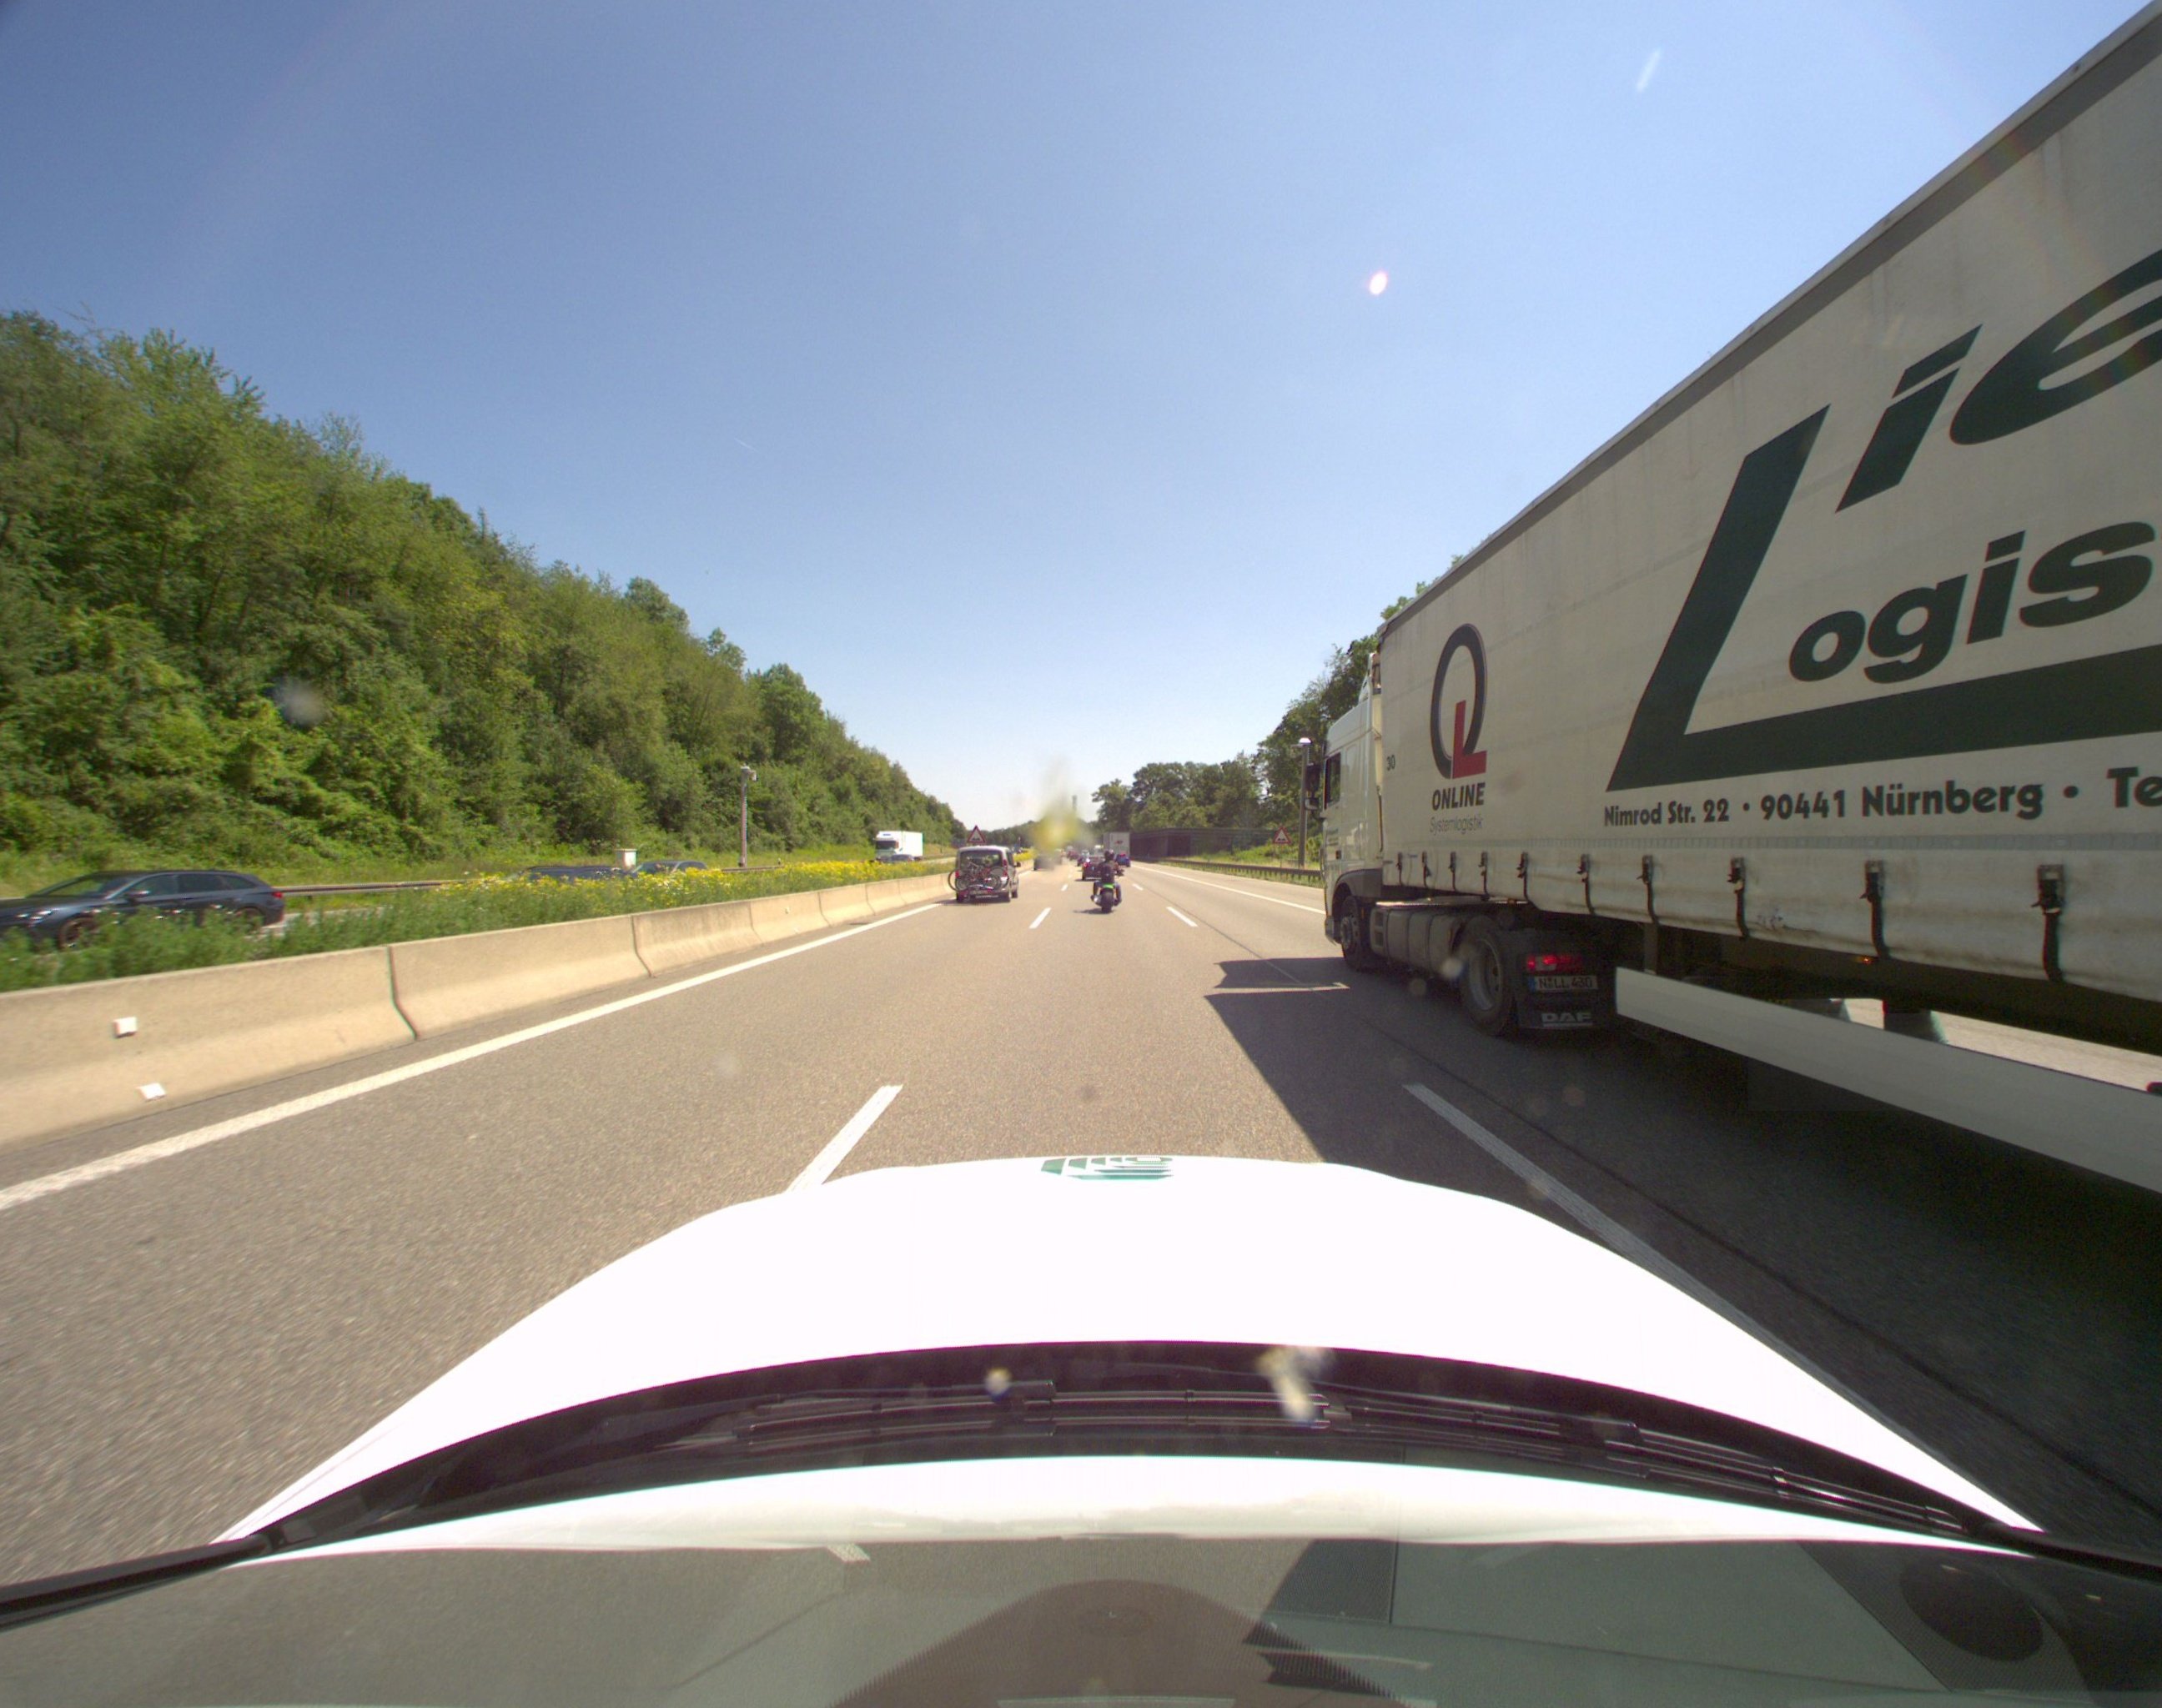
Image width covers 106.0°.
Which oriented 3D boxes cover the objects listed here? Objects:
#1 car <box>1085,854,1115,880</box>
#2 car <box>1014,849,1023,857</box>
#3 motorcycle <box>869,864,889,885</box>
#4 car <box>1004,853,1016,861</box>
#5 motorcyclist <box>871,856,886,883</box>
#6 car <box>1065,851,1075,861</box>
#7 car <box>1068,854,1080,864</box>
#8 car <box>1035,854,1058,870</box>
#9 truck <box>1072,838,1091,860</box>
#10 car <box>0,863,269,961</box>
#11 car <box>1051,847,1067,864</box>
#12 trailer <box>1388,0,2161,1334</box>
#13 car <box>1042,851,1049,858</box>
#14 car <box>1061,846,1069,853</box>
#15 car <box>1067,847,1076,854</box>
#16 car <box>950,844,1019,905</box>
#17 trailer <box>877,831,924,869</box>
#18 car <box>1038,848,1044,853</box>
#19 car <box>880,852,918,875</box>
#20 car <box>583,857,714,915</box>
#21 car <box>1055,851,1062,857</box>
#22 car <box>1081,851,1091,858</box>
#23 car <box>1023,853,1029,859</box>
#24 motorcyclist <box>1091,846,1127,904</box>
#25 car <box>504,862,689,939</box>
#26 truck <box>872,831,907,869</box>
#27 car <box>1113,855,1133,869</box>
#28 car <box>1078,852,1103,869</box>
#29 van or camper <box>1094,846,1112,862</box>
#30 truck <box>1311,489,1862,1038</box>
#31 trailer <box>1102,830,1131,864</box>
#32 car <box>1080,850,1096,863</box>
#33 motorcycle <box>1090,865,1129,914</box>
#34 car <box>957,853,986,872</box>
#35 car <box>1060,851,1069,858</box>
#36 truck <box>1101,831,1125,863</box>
[{"bbox_3d":[1.088,0.767,47.513,1.657,1.453,3.869,0,-1,1],"label":"car"},{"bbox_3d":[-16.540,-0.176,215.930,1.988,2.014,4.417,0,-1,-2],"label":"car"},{"bbox_3d":[-10.289,1.030,41.486,0.621,1.033,1.467,0,0,1],"label":"motorcycle"},{"bbox_3d":[-14.389,0.656,165.262,1.987,1.486,3.999,0,-1,0],"label":"car"},{"bbox_3d":[-10.294,0.794,41.471,0.621,1.334,0.577,0,0,1],"label":"motorcyclist"},{"bbox_3d":[-2.241,0.379,165.162,1.907,2.014,3.686,0,-1,-4],"label":"car"},{"bbox_3d":[-1.228,0.806,138.884,1.988,1.640,3.997,0,-1,-2],"label":"car"},{"bbox_3d":[-3.125,0.769,73.766,1.988,1.387,3.998,0,-1,-1],"label":"car"},{"bbox_3d":[0.049,-1.109,195.254,3.797,4.960,8.933,0,-1,-5],"label":"truck"},{"bbox_3d":[-18.160,0.972,15.185,1.987,1.508,4.000,-1,0,0],"label":"car"},{"bbox_3d":[-2.772,0.220,103.192,1.785,2.014,3.642,0,-1,1],"label":"car"},{"bbox_3d":[4.453,-0.739,2.226,2.775,4.204,13.252,0,1,2],"label":"trailer"},{"bbox_3d":[-8.477,0.155,194.121,1.828,1.496,3.739,0,-1,-3],"label":"car"},{"bbox_3d":[-4.675,-1.216,234.350,2.104,1.876,3.993,0,-1,-5],"label":"car"},{"bbox_3d":[-2.686,-0.965,228.822,2.104,1.876,3.993,0,-1,-5],"label":"car"},{"bbox_3d":[-3.129,0.653,27.242,1.894,1.873,4.409,0,-1,-2],"label":"car"},{"bbox_3d":[-21.292,-0.363,97.144,2.707,4.208,13.925,0,-1,-1],"label":"trailer"},{"bbox_3d":[-11.501,-1.070,235.209,1.828,1.496,3.739,0,-1,-3],"label":"car"},{"bbox_3d":[-13.933,0.715,62.566,1.942,1.642,3.980,-1,0,0],"label":"car"},{"bbox_3d":[-13.786,0.959,26.274,1.986,1.728,4.001,0,0,1],"label":"car"},{"bbox_3d":[-5.564,0.051,202.030,1.828,1.496,3.739,0,-1,-3],"label":"car"},{"bbox_3d":[1.145,0.122,183.240,1.988,1.574,3.998,0,-1,-1],"label":"car"},{"bbox_3d":[-17.494,0.593,260.598,1.831,1.849,3.774,0,-1,-3],"label":"car"},{"bbox_3d":[0.760,0.539,21.498,0.896,1.475,1.873,-1,-1,2],"label":"motorcyclist"},{"bbox_3d":[-10.741,0.954,18.439,1.755,1.510,4.000,-1,0,0],"label":"car"},{"bbox_3d":[-21.193,-0.406,90.263,2.682,4.090,5.200,0,-1,-1],"label":"truck"},{"bbox_3d":[4.459,0.835,87.452,1.647,1.483,4.475,0,-1,-4],"label":"car"},{"bbox_3d":[0.812,0.605,71.757,1.989,1.430,3.843,0,-1,-3],"label":"car"},{"bbox_3d":[3.778,0.049,141.344,2.678,2.813,6.798,0,-1,-2],"label":"van or camper"},{"bbox_3d":[4.700,-0.730,9.203,2.775,4.204,5.873,0,1,2],"label":"truck"},{"bbox_3d":[4.335,-0.854,101.836,2.877,4.038,13.791,0,0,0],"label":"trailer"},{"bbox_3d":[0.779,0.303,94.031,1.774,1.552,3.584,0,-1,0],"label":"car"},{"bbox_3d":[0.769,0.896,21.557,0.961,1.148,2.813,0,0,2],"label":"motorcycle"},{"bbox_3d":[-10.034,0.762,74.977,1.987,1.678,4.081,-1,0,1],"label":"car"},{"bbox_3d":[-3.756,0.132,183.903,1.828,1.496,3.739,0,-1,-3],"label":"car"},{"bbox_3d":[4.277,-0.941,108.664,2.877,4.146,5.984,0,0,-1],"label":"truck"}]
